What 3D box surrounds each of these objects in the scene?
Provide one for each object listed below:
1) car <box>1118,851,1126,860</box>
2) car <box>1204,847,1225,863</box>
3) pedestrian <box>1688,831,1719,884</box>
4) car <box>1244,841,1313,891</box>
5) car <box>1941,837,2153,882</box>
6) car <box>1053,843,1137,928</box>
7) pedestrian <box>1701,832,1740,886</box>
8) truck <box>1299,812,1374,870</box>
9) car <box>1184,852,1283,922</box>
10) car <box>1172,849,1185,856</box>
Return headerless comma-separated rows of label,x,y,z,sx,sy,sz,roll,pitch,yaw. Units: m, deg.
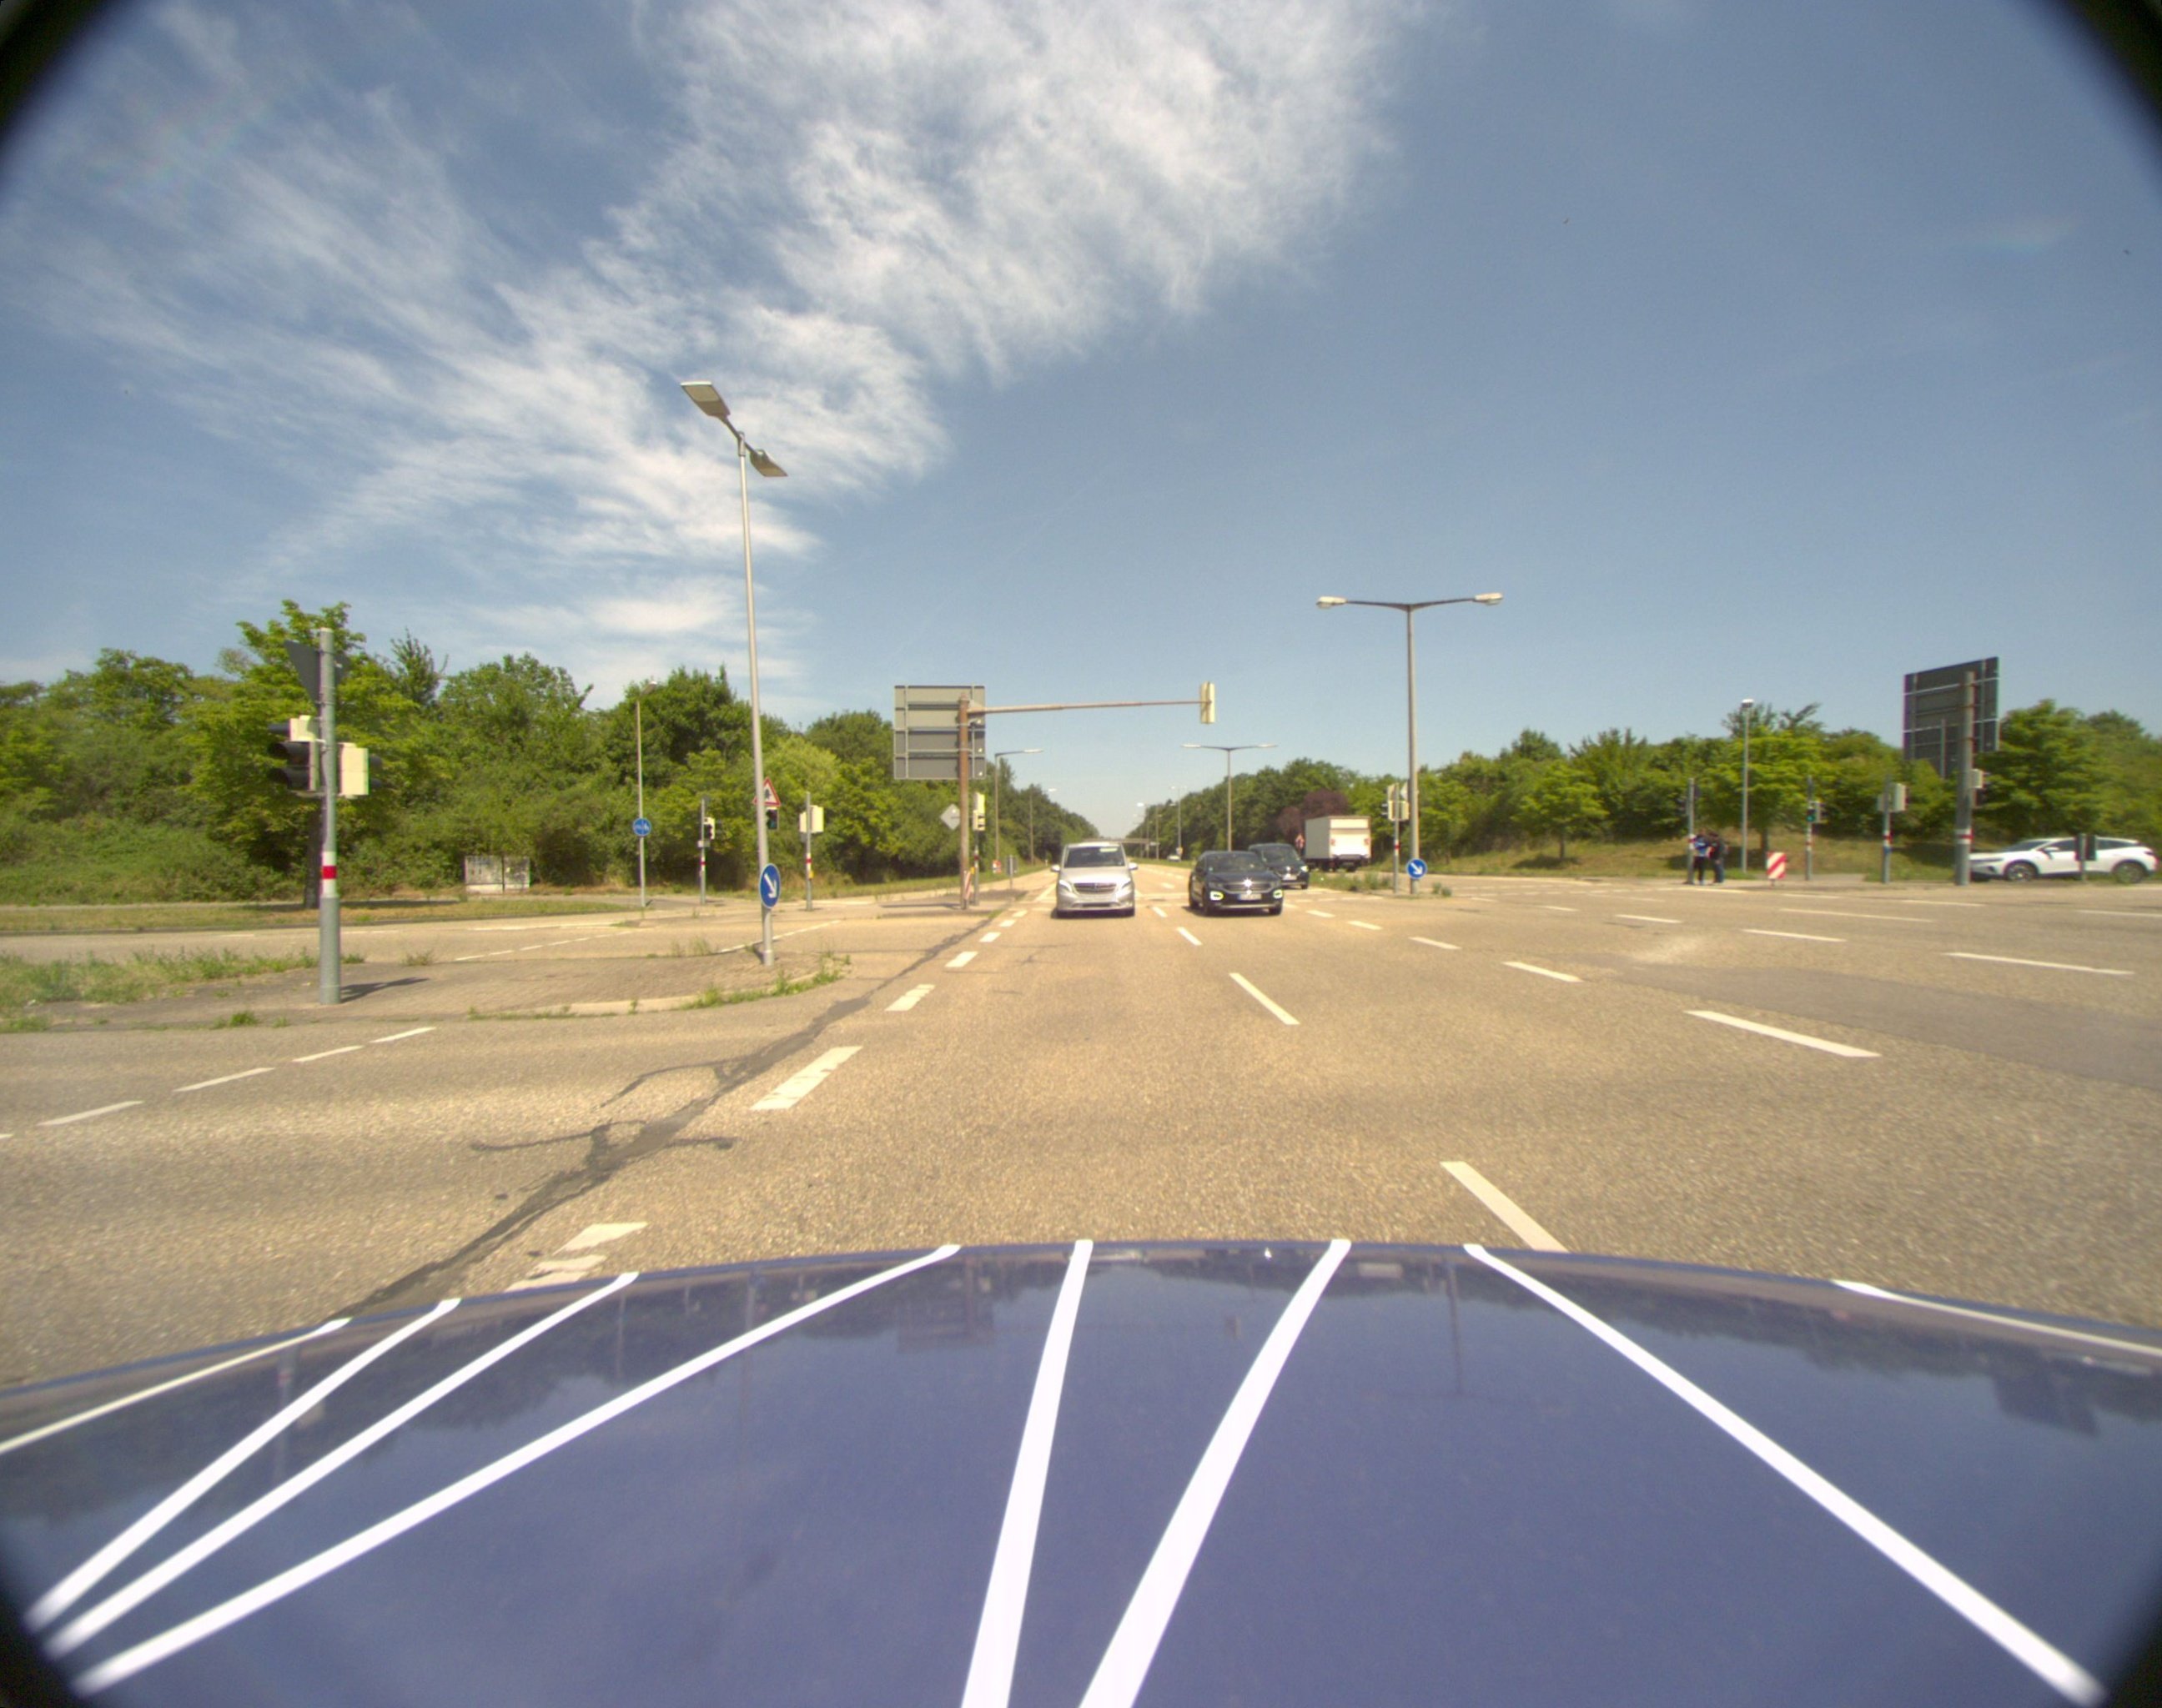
car,8.984,0.329,166.467,1.735,1.815,4.322,-1,0,2
car,14.984,0.117,85.371,1.711,1.653,4.223,-1,0,2
pedestrian,20.600,0.127,25.153,0.582,1.726,0.794,-1,1,21
car,7.778,0.433,30.280,1.735,1.815,4.322,-1,0,2
car,33.300,0.203,26.352,4.301,1.492,1.882,1,-2,13
car,0.381,0.684,19.205,1.764,1.794,4.855,-2,0,2
pedestrian,20.467,0.165,24.326,0.723,1.689,0.776,-1,1,20
truck,16.935,-0.795,50.941,2.694,3.550,7.267,-1,0,1
car,3.709,0.738,19.091,1.738,1.503,3.971,-2,0,2
car,19.206,-0.316,149.705,1.827,1.447,4.168,-1,0,-1
